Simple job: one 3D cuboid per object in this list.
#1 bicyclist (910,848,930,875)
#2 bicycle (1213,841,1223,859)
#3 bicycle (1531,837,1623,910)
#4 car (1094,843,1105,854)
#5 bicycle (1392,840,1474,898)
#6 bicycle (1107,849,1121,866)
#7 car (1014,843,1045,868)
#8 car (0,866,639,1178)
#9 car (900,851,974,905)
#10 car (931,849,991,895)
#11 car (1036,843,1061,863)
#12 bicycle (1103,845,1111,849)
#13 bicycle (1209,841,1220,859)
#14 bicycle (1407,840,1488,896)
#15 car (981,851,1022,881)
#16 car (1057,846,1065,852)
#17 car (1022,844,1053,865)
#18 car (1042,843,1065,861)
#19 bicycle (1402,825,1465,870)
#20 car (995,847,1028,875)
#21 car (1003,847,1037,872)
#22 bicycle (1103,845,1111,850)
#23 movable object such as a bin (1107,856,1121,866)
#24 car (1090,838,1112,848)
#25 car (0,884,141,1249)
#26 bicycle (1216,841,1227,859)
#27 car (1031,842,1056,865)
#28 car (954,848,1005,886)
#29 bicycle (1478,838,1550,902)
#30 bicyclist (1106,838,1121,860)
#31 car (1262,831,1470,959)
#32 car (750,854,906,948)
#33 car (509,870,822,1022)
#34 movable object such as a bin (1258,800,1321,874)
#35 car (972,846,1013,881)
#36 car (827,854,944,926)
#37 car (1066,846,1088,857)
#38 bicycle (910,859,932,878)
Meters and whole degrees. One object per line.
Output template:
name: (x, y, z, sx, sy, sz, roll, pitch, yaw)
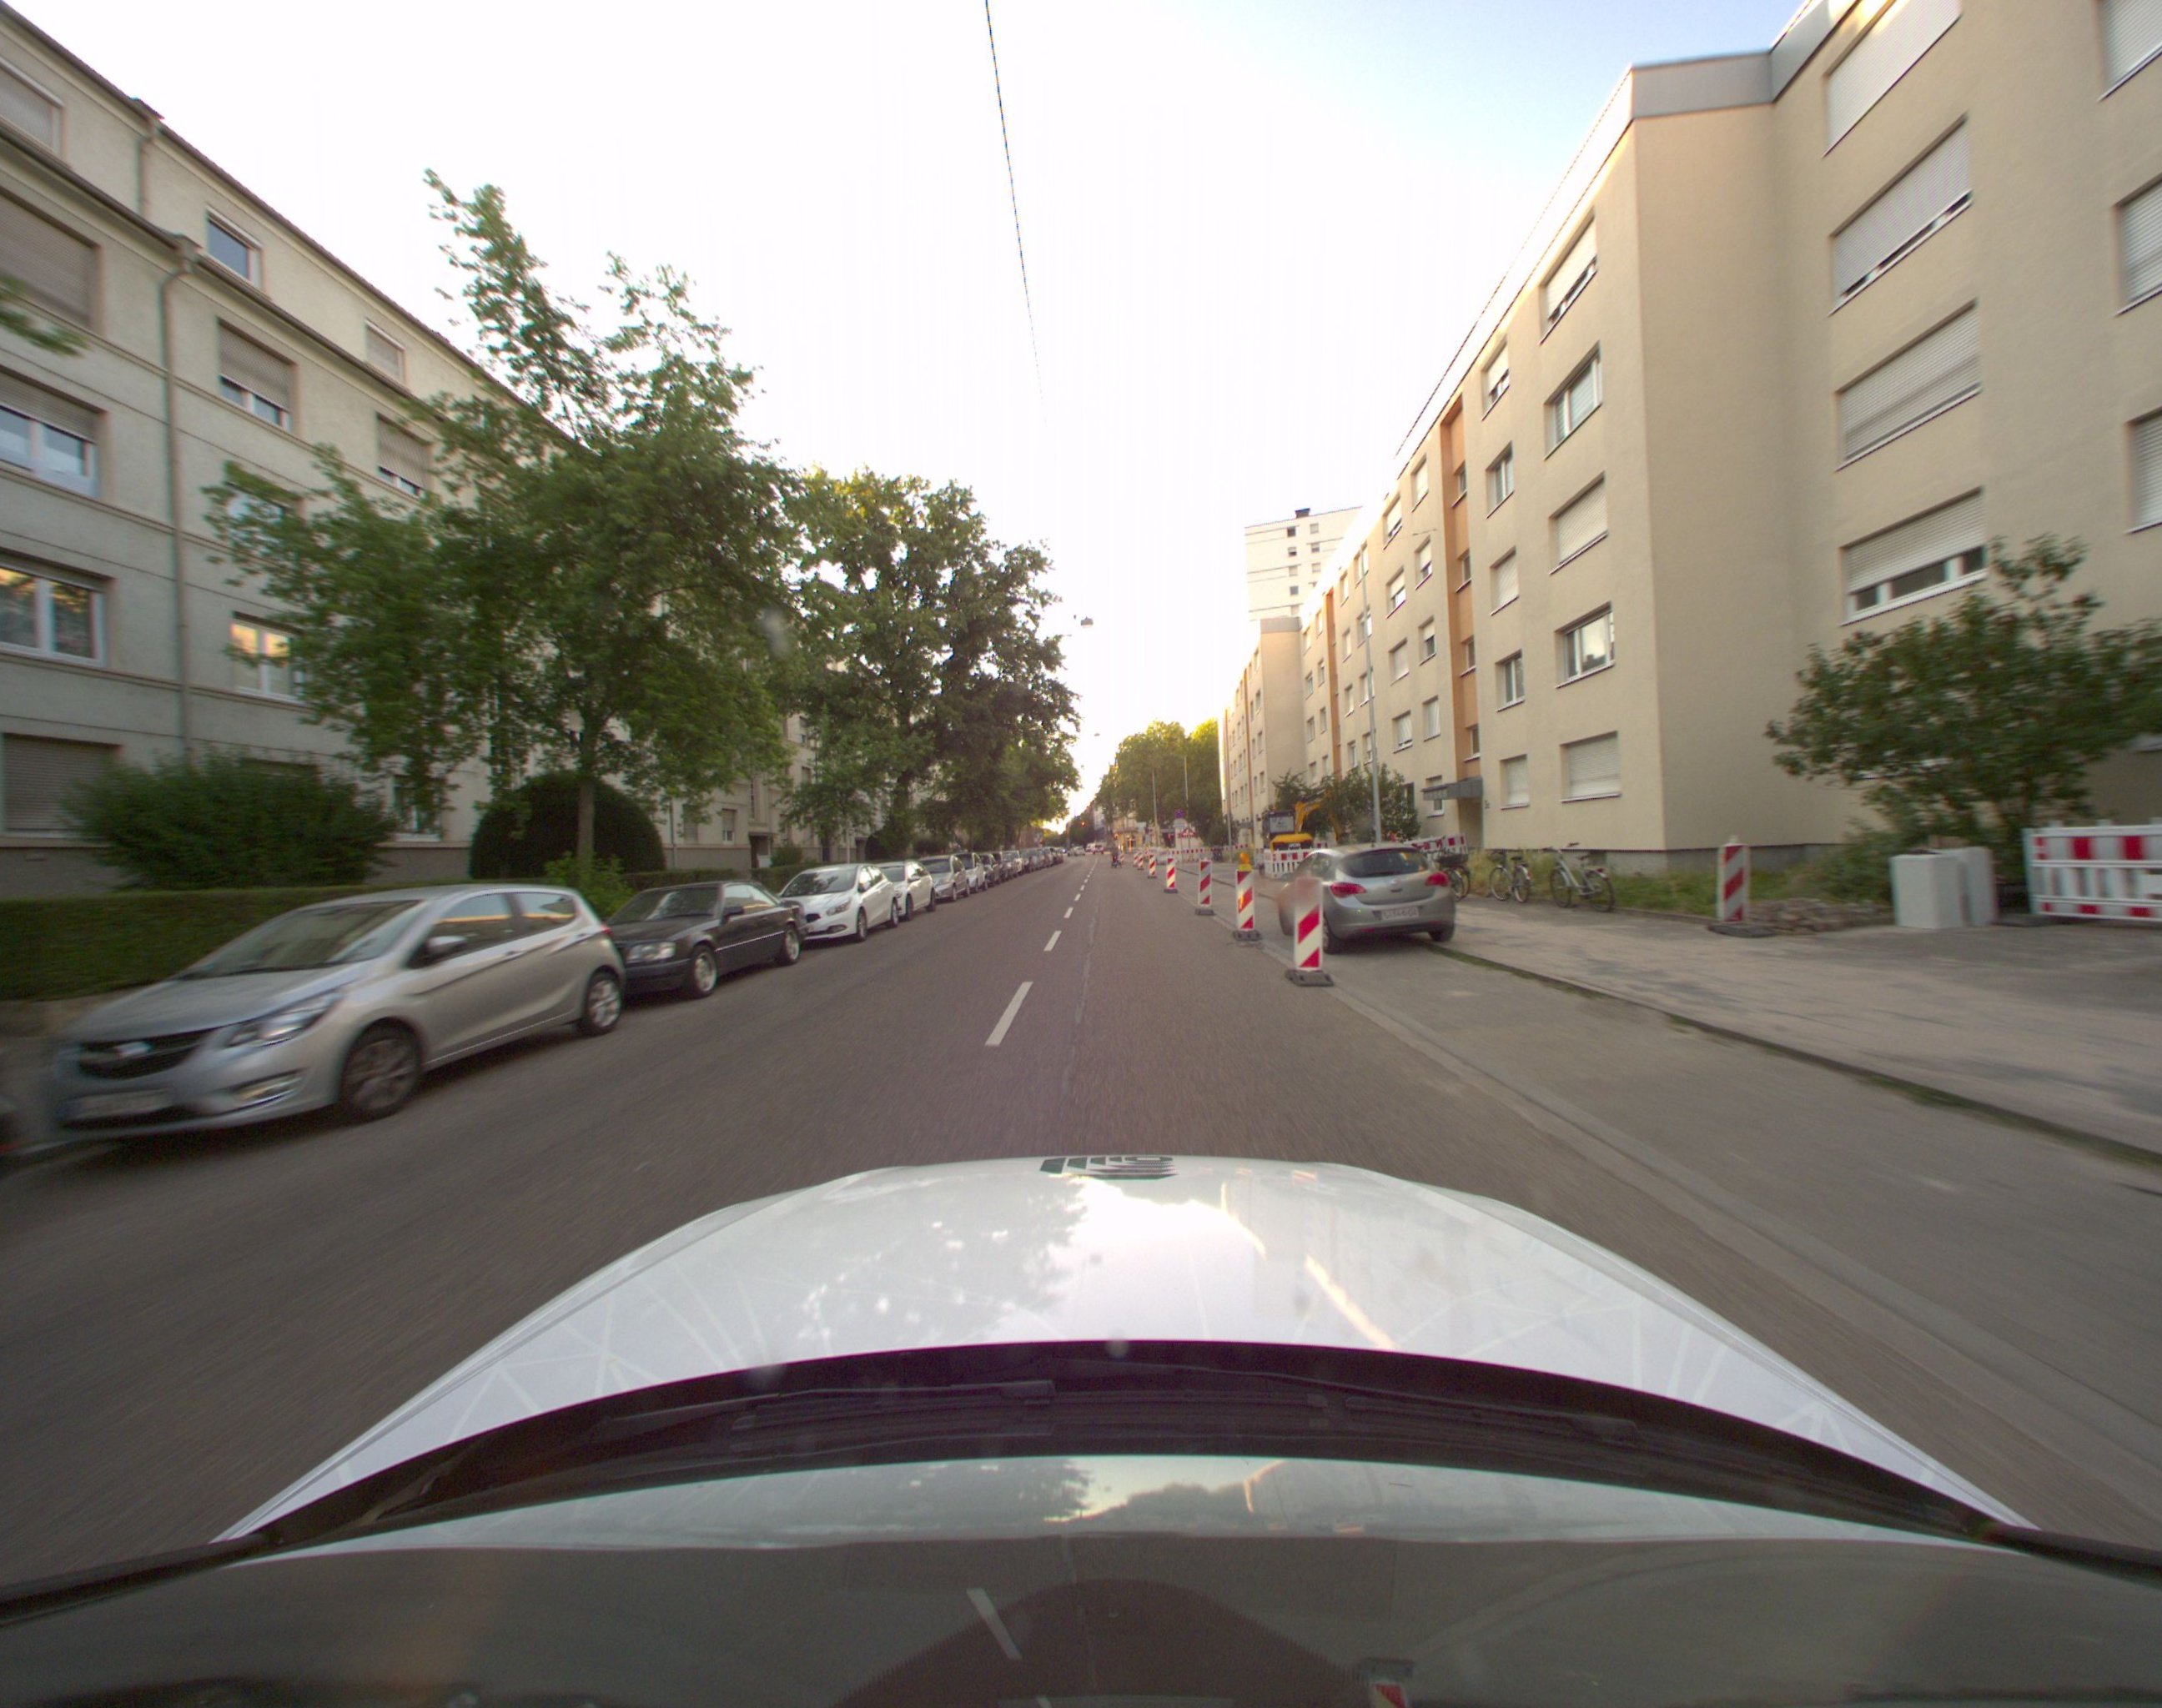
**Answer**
bicyclist: (-8.598, 0.376, 43.619, 0.805, 1.404, 0.974, -2, 0, 1)
bicycle: (9.855, -0.284, 58.636, 0.396, 1.222, 1.911, -2, 0, 0)
bicycle: (8.505, 0.304, 14.046, 0.553, 1.172, 1.819, -2, 0, 4)
car: (3.316, -0.962, 148.048, 1.860, 1.815, 4.000, -3, 0, 0)
bicycle: (7.579, 0.298, 17.638, 0.557, 1.172, 1.806, -2, 0, -18)
bicycle: (2.487, 0.251, 60.825, 0.935, 1.172, 2.361, -5, 0, 3)
car: (-3.661, 0.058, 58.800, 1.701, 1.600, 4.118, -5, 0, 2)
car: (-5.256, 0.933, 6.198, 1.669, 1.459, 3.704, -5, 0, -1)
car: (-4.707, 0.736, 27.123, 1.584, 1.505, 3.800, -5, 0, 1)
car: (-4.583, 0.642, 31.443, 1.583, 1.529, 2.924, -5, 0, 4)
car: (-3.038, -0.128, 76.318, 1.947, 1.718, 4.772, -4, 1, 1)
bicycle: (6.506, -1.732, 203.938, 1.909, 0.968, 0.545, -2, 0, -1)
bicycle: (9.579, -0.279, 58.550, 0.450, 1.222, 1.911, -2, 0, 0)
bicycle: (8.110, 0.287, 18.132, 0.627, 1.172, 1.808, -2, 0, -15)
car: (-4.309, 0.606, 44.586, 1.584, 1.404, 4.183, -5, 0, 2)
car: (-5.299, -1.373, 215.033, 1.779, 1.651, 3.813, -1, 0, -6)
car: (-3.357, 0.018, 63.602, 1.724, 1.497, 4.277, -4, 1, 6)
car: (-2.795, -0.231, 84.157, 1.947, 1.616, 4.606, -4, 1, 1)
bicycle: (10.050, -0.190, 23.207, 1.590, 1.222, 0.484, -2, 0, -5)
car: (-4.210, 0.389, 49.994, 1.585, 1.538, 4.205, -5, 0, -1)
car: (-4.032, 0.365, 54.388, 1.701, 1.452, 3.845, -5, 0, 2)
bicycle: (6.544, -1.618, 204.110, 1.909, 0.968, 0.545, -2, 0, -1)
movable object such as a bin: (2.409, 0.502, 59.144, 0.935, 0.689, 0.994, -5, 0, 3)
car: (5.236, -2.806, 210.364, 5.855, 2.287, 2.047, -3, 1, -42)
car: (-5.366, 0.977, 1.477, 1.747, 1.479, 4.678, -5, 0, 0)
bicycle: (10.103, -0.288, 58.565, 0.396, 1.222, 1.826, -2, 0, 0)
car: (-3.146, -0.073, 69.062, 1.841, 1.690, 4.858, -4, 1, 0)
car: (-4.443, 0.538, 36.162, 1.585, 1.466, 4.101, -5, 0, 0)
bicycle: (8.517, 0.293, 16.095, 0.553, 1.172, 1.819, -2, 0, 4)
bicyclist: (2.435, -0.366, 60.845, 0.935, 1.581, 1.147, -5, 0, 3)
car: (4.242, 0.515, 12.949, 1.769, 1.490, 4.577, -6, 0, 3)
car: (-4.844, 0.817, 16.248, 1.687, 1.459, 4.144, -5, 0, 0)
car: (-5.144, 1.025, 10.944, 1.669, 1.331, 4.581, -5, 0, 1)
movable object such as a bin: (8.076, -0.664, 31.810, 1.923, 2.692, 2.897, -2, 0, 6)
car: (-4.352, 0.420, 40.436, 1.518, 1.529, 3.164, -5, 0, 0)
car: (-4.827, 0.821, 20.820, 1.686, 1.459, 4.485, -5, 0, 1)
car: (-0.631, -0.463, 133.629, 1.878, 1.585, 3.961, -3, 0, -30)
bicycle: (-8.550, 0.764, 43.576, 0.805, 0.911, 1.762, -2, 1, 1)
